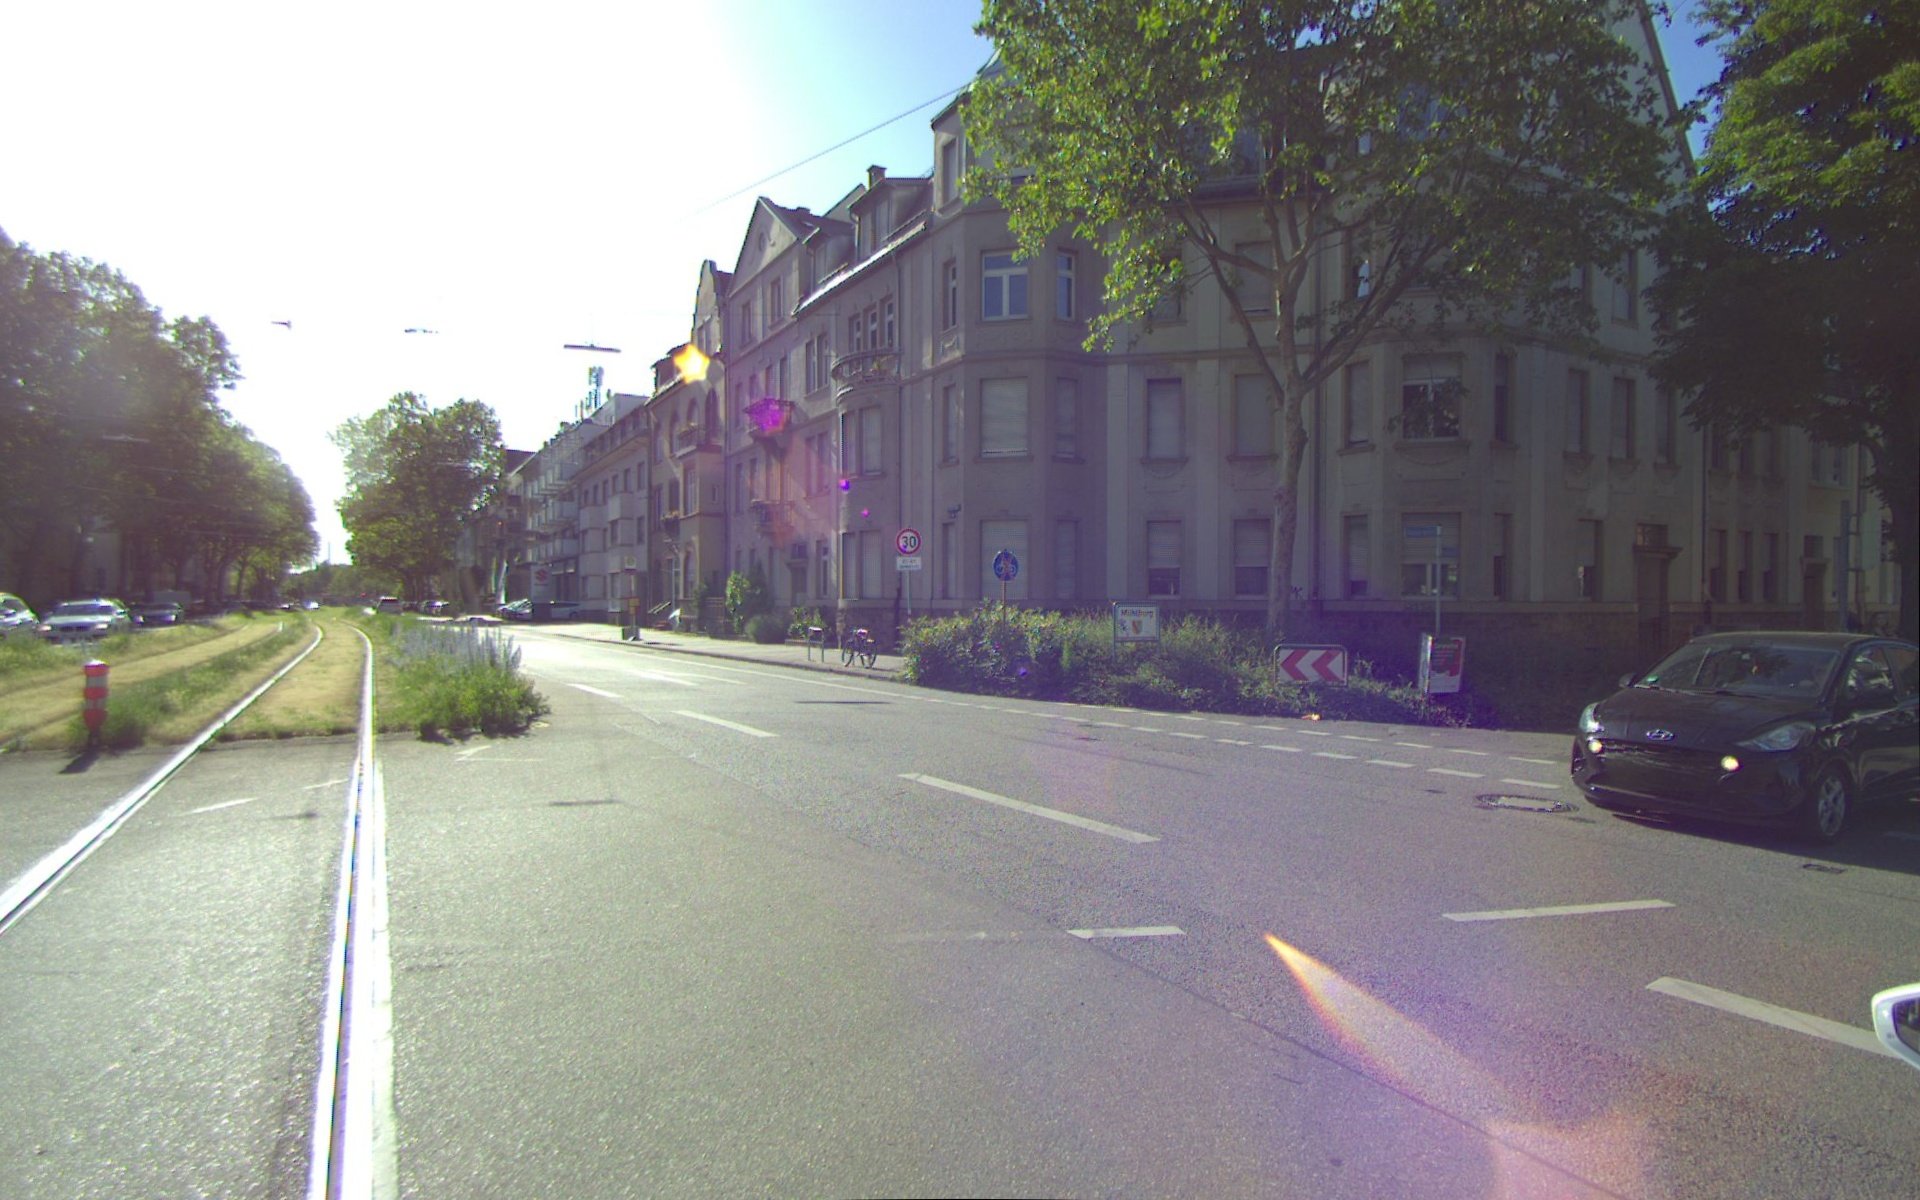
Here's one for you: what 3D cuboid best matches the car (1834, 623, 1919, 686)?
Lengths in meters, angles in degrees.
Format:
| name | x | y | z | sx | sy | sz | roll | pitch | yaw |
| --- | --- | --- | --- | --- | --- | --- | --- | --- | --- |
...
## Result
| name | x | y | z | sx | sy | sz | roll | pitch | yaw |
| --- | --- | --- | --- | --- | --- | --- | --- | --- | --- |
| car | 23.454 | 1.302 | 23.830 | 1.598 | 1.434 | 3.858 | 0 | 0 | -34 |

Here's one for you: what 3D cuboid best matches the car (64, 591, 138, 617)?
| name | x | y | z | sx | sy | sz | roll | pitch | yaw |
| --- | --- | --- | --- | --- | --- | --- | --- | --- | --- |
| car | -64.905 | 0.285 | 75.973 | 1.810 | 1.729 | 3.808 | 1 | 2 | 19 |

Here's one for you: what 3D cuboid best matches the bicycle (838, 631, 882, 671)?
| name | x | y | z | sx | sy | sz | roll | pitch | yaw |
| --- | --- | --- | --- | --- | --- | --- | --- | --- | --- |
| bicycle | -2.465 | 1.241 | 24.600 | 0.491 | 0.917 | 1.426 | 0 | 0 | -32 |

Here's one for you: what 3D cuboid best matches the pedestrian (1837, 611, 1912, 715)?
| name | x | y | z | sx | sy | sz | roll | pitch | yaw |
| --- | --- | --- | --- | --- | --- | --- | --- | --- | --- |
| pedestrian | 15.365 | 1.040 | 16.887 | 0.669 | 1.704 | 0.693 | 0 | 0 | -18 |

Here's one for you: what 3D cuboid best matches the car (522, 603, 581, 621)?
| name | x | y | z | sx | sy | sz | roll | pitch | yaw |
| --- | --- | --- | --- | --- | --- | --- | --- | --- | --- |
| car | -30.435 | 0.902 | 74.884 | 3.954 | 1.325 | 1.530 | 0 | 0 | -31 |

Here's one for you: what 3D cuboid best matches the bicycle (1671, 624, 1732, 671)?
| name | x | y | z | sx | sy | sz | roll | pitch | yaw |
| --- | --- | --- | --- | --- | --- | --- | --- | --- | --- |
| bicycle | 19.904 | 1.263 | 26.951 | 1.958 | 1.170 | 0.511 | -1 | 3 | -29 |

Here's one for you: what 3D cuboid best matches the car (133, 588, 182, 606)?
| name | x | y | z | sx | sy | sz | roll | pitch | yaw |
| --- | --- | --- | --- | --- | --- | --- | --- | --- | --- |
| car | -84.438 | -0.353 | 105.720 | 1.821 | 1.729 | 3.784 | 3 | 3 | 44 |

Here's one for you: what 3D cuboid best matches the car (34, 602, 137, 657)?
| name | x | y | z | sx | sy | sz | roll | pitch | yaw |
| --- | --- | --- | --- | --- | --- | --- | --- | --- | --- |
| car | -27.668 | 0.889 | 31.908 | 1.746 | 1.550 | 3.864 | -2 | 1 | -31 |

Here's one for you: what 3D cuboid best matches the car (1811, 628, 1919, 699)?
| name | x | y | z | sx | sy | sz | roll | pitch | yaw |
| --- | --- | --- | --- | --- | --- | --- | --- | --- | --- |
| car | 21.282 | 1.376 | 21.891 | 1.595 | 1.495 | 3.866 | 1 | -1 | -28 |

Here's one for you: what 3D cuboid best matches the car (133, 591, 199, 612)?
| name | x | y | z | sx | sy | sz | roll | pitch | yaw |
| --- | --- | --- | --- | --- | --- | --- | --- | --- | --- |
| car | -75.502 | 0.134 | 95.585 | 1.810 | 1.729 | 4.590 | 1 | 3 | 21 |

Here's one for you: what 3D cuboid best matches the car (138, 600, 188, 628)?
| name | x | y | z | sx | sy | sz | roll | pitch | yaw |
| --- | --- | --- | --- | --- | --- | --- | --- | --- | --- |
| car | -48.184 | 0.832 | 60.798 | 1.798 | 1.612 | 4.211 | 0 | 0 | -30 |

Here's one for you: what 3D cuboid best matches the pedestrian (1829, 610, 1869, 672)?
| name | x | y | z | sx | sy | sz | roll | pitch | yaw |
| --- | --- | --- | --- | --- | --- | --- | --- | --- | --- |
| pedestrian | 24.695 | 1.126 | 27.902 | 0.881 | 1.680 | 0.459 | 0 | 0 | -21 |

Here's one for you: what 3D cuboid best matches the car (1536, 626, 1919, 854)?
| name | x | y | z | sx | sy | sz | roll | pitch | yaw |
| --- | --- | --- | --- | --- | --- | --- | --- | --- | --- |
| car | 6.722 | 1.003 | 8.319 | 3.761 | 1.483 | 1.654 | 2 | -1 | -28 |

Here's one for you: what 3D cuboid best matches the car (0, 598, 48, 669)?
| name | x | y | z | sx | sy | sz | roll | pitch | yaw |
| --- | --- | --- | --- | --- | --- | --- | --- | --- | --- |
| car | -22.435 | 0.734 | 22.727 | 1.744 | 1.550 | 3.989 | 0 | 0 | -29 |

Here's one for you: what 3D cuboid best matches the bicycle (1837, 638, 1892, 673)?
| name | x | y | z | sx | sy | sz | roll | pitch | yaw |
| --- | --- | --- | --- | --- | --- | --- | --- | --- | --- |
| bicycle | 24.681 | 1.498 | 27.391 | 1.573 | 0.924 | 0.471 | 0 | 0 | -22 |

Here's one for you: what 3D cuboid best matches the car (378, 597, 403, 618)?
| name | x | y | z | sx | sy | sz | roll | pitch | yaw |
| --- | --- | --- | --- | --- | --- | --- | --- | --- | --- |
| car | -51.938 | 0.645 | 91.571 | 1.963 | 1.860 | 4.081 | 0 | 0 | -30 |
